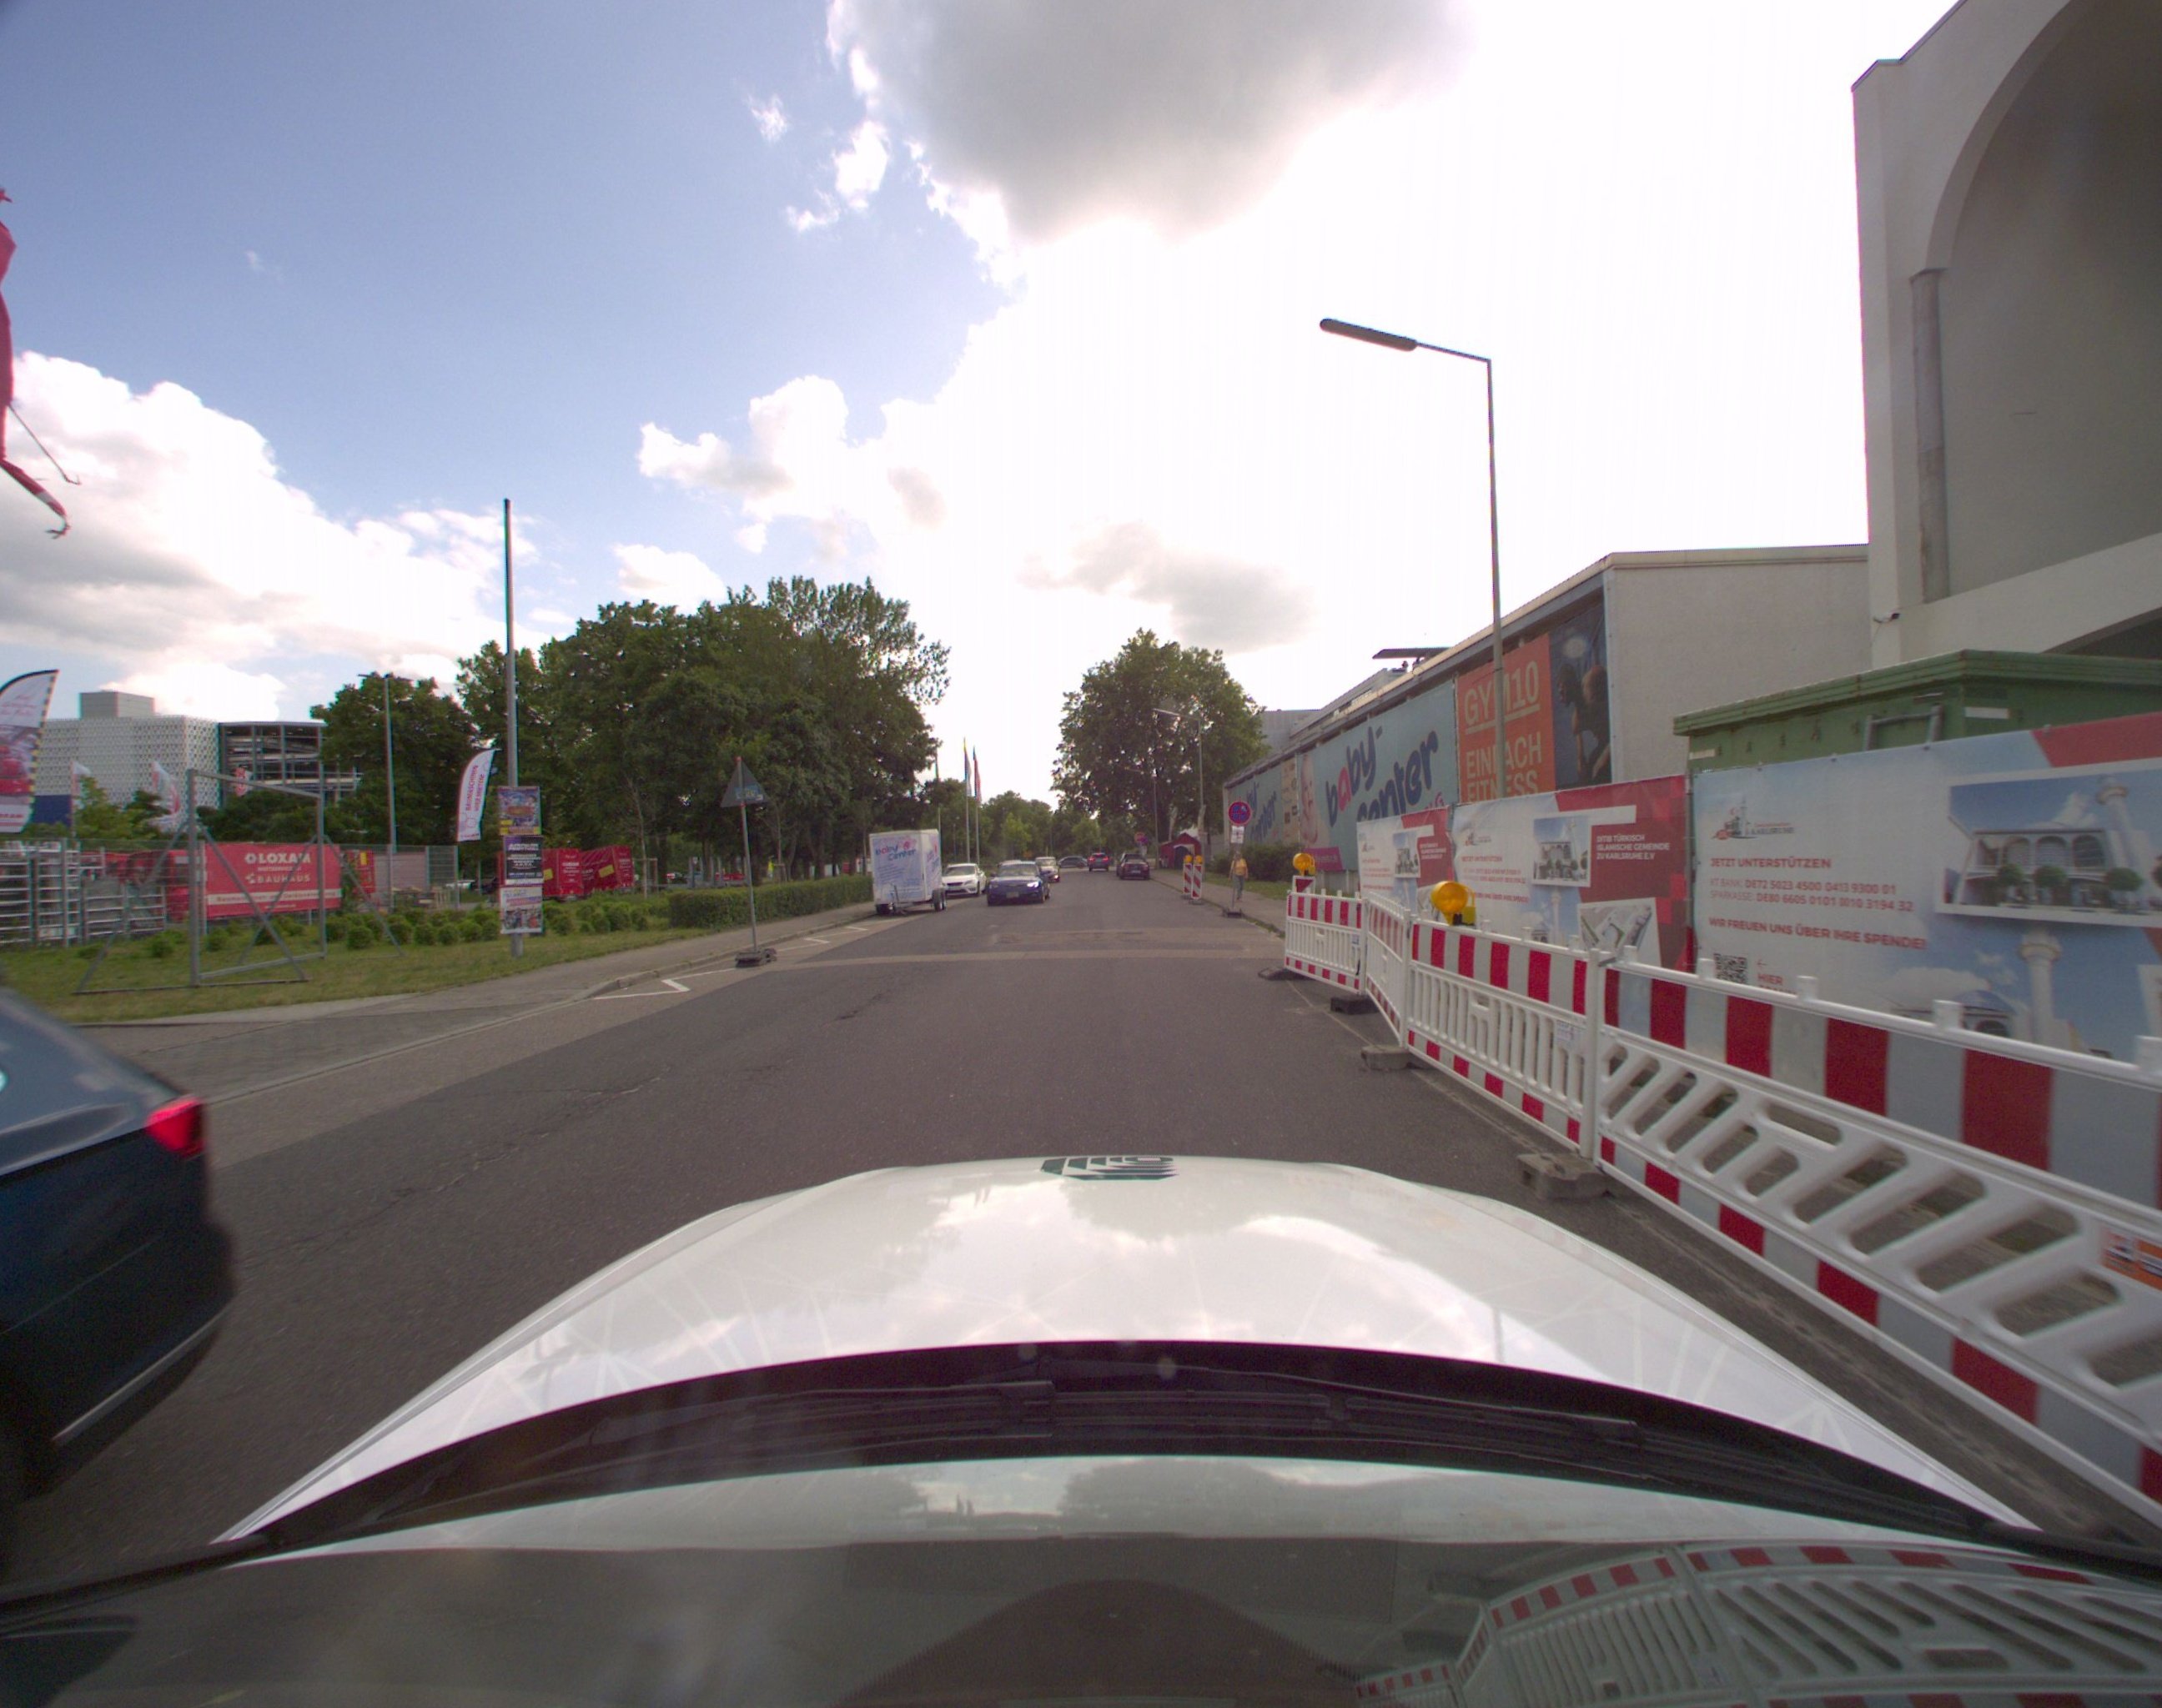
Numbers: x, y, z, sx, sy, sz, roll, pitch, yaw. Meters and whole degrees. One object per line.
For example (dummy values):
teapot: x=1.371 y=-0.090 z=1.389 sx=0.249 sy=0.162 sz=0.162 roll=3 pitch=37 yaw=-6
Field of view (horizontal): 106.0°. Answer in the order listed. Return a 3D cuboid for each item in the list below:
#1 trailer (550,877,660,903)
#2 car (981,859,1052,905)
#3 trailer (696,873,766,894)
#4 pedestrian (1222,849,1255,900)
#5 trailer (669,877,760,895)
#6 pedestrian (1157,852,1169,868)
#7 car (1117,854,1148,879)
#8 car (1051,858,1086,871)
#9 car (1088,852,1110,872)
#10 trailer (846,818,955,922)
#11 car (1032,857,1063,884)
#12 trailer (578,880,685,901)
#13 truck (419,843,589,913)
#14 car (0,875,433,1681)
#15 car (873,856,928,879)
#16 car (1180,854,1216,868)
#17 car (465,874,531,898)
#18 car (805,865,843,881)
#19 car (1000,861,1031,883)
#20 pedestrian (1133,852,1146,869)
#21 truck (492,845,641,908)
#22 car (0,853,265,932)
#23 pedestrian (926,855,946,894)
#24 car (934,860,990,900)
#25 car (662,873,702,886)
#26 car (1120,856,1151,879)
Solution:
trailer: x=-22.674 y=1.708 z=38.932 sx=4.222 sy=1.121 sz=1.671 roll=-2 pitch=-2 yaw=-2
car: x=-2.115 y=0.900 z=27.878 sx=1.916 sy=1.377 sz=4.381 roll=-2 pitch=0 yaw=1
trailer: x=-22.811 y=1.896 z=53.180 sx=3.797 sy=1.190 sz=1.718 roll=-2 pitch=0 yaw=6
pedestrian: x=4.871 y=0.627 z=25.236 sx=0.680 sy=1.534 sz=1.128 roll=-2 pitch=-1 yaw=-4
trailer: x=-22.735 y=1.984 z=50.612 sx=4.572 sy=0.913 sz=2.191 roll=-2 pitch=0 yaw=5
pedestrian: x=7.268 y=0.542 z=72.004 sx=1.008 sy=1.314 sz=0.967 roll=-2 pitch=-1 yaw=9
car: x=3.579 y=0.835 z=57.322 sx=1.802 sy=1.665 sz=4.638 roll=1 pitch=0 yaw=0
car: x=-1.575 y=1.313 z=101.992 sx=4.208 sy=1.406 sz=1.923 roll=-2 pitch=0 yaw=-2
car: x=1.686 y=0.747 z=78.212 sx=1.956 sy=1.815 sz=4.273 roll=-2 pitch=0 yaw=-1
trailer: x=-5.459 y=0.444 z=25.330 sx=2.132 sy=2.783 sz=4.703 roll=-4 pitch=0 yaw=0
car: x=-1.969 y=0.968 z=48.479 sx=1.585 sy=1.465 sz=3.761 roll=-3 pitch=0 yaw=0
trailer: x=-22.751 y=1.854 z=41.344 sx=4.222 sy=0.913 sz=2.158 roll=-2 pitch=-2 yaw=-2
truck: x=-23.574 y=0.991 z=33.370 sx=5.731 sy=2.594 sz=1.816 roll=-2 pitch=-2 yaw=2
car: x=-2.935 y=0.841 z=0.285 sx=1.790 sy=1.459 sz=4.385 roll=-3 pitch=0 yaw=1
car: x=-22.550 y=1.668 z=101.712 sx=6.375 sy=2.578 sz=2.202 roll=-2 pitch=0 yaw=-6
car: x=14.796 y=0.869 z=102.708 sx=4.208 sy=1.579 sz=1.923 roll=-2 pitch=0 yaw=-2
car: x=-41.938 y=2.272 z=58.720 sx=1.563 sy=1.511 sz=4.357 roll=-2 pitch=-1 yaw=0
car: x=-39.767 y=2.939 z=126.005 sx=5.273 sy=2.211 sz=1.796 roll=-2 pitch=-1 yaw=-3
car: x=-4.826 y=1.296 z=60.597 sx=1.703 sy=1.420 sz=4.333 roll=-5 pitch=0 yaw=2
pedestrian: x=6.300 y=0.721 z=87.462 sx=1.003 sy=1.849 sz=1.222 roll=-1 pitch=-1 yaw=-17
truck: x=-23.019 y=1.009 z=36.558 sx=5.528 sy=2.594 sz=1.779 roll=-2 pitch=-2 yaw=1
car: x=-34.877 y=1.395 z=30.384 sx=2.258 sy=2.594 sz=6.439 roll=-2 pitch=-2 yaw=1
pedestrian: x=-7.584 y=1.056 z=42.594 sx=0.806 sy=2.014 sz=0.885 roll=-2 pitch=-1 yaw=0
car: x=-5.145 y=1.103 z=35.780 sx=1.760 sy=1.479 sz=4.234 roll=-5 pitch=0 yaw=0
car: x=-49.402 y=3.118 z=100.947 sx=4.006 sy=1.406 sz=1.797 roll=-2 pitch=0 yaw=-2
car: x=3.394 y=0.806 z=50.960 sx=1.801 sy=1.391 sz=4.590 roll=1 pitch=0 yaw=2
